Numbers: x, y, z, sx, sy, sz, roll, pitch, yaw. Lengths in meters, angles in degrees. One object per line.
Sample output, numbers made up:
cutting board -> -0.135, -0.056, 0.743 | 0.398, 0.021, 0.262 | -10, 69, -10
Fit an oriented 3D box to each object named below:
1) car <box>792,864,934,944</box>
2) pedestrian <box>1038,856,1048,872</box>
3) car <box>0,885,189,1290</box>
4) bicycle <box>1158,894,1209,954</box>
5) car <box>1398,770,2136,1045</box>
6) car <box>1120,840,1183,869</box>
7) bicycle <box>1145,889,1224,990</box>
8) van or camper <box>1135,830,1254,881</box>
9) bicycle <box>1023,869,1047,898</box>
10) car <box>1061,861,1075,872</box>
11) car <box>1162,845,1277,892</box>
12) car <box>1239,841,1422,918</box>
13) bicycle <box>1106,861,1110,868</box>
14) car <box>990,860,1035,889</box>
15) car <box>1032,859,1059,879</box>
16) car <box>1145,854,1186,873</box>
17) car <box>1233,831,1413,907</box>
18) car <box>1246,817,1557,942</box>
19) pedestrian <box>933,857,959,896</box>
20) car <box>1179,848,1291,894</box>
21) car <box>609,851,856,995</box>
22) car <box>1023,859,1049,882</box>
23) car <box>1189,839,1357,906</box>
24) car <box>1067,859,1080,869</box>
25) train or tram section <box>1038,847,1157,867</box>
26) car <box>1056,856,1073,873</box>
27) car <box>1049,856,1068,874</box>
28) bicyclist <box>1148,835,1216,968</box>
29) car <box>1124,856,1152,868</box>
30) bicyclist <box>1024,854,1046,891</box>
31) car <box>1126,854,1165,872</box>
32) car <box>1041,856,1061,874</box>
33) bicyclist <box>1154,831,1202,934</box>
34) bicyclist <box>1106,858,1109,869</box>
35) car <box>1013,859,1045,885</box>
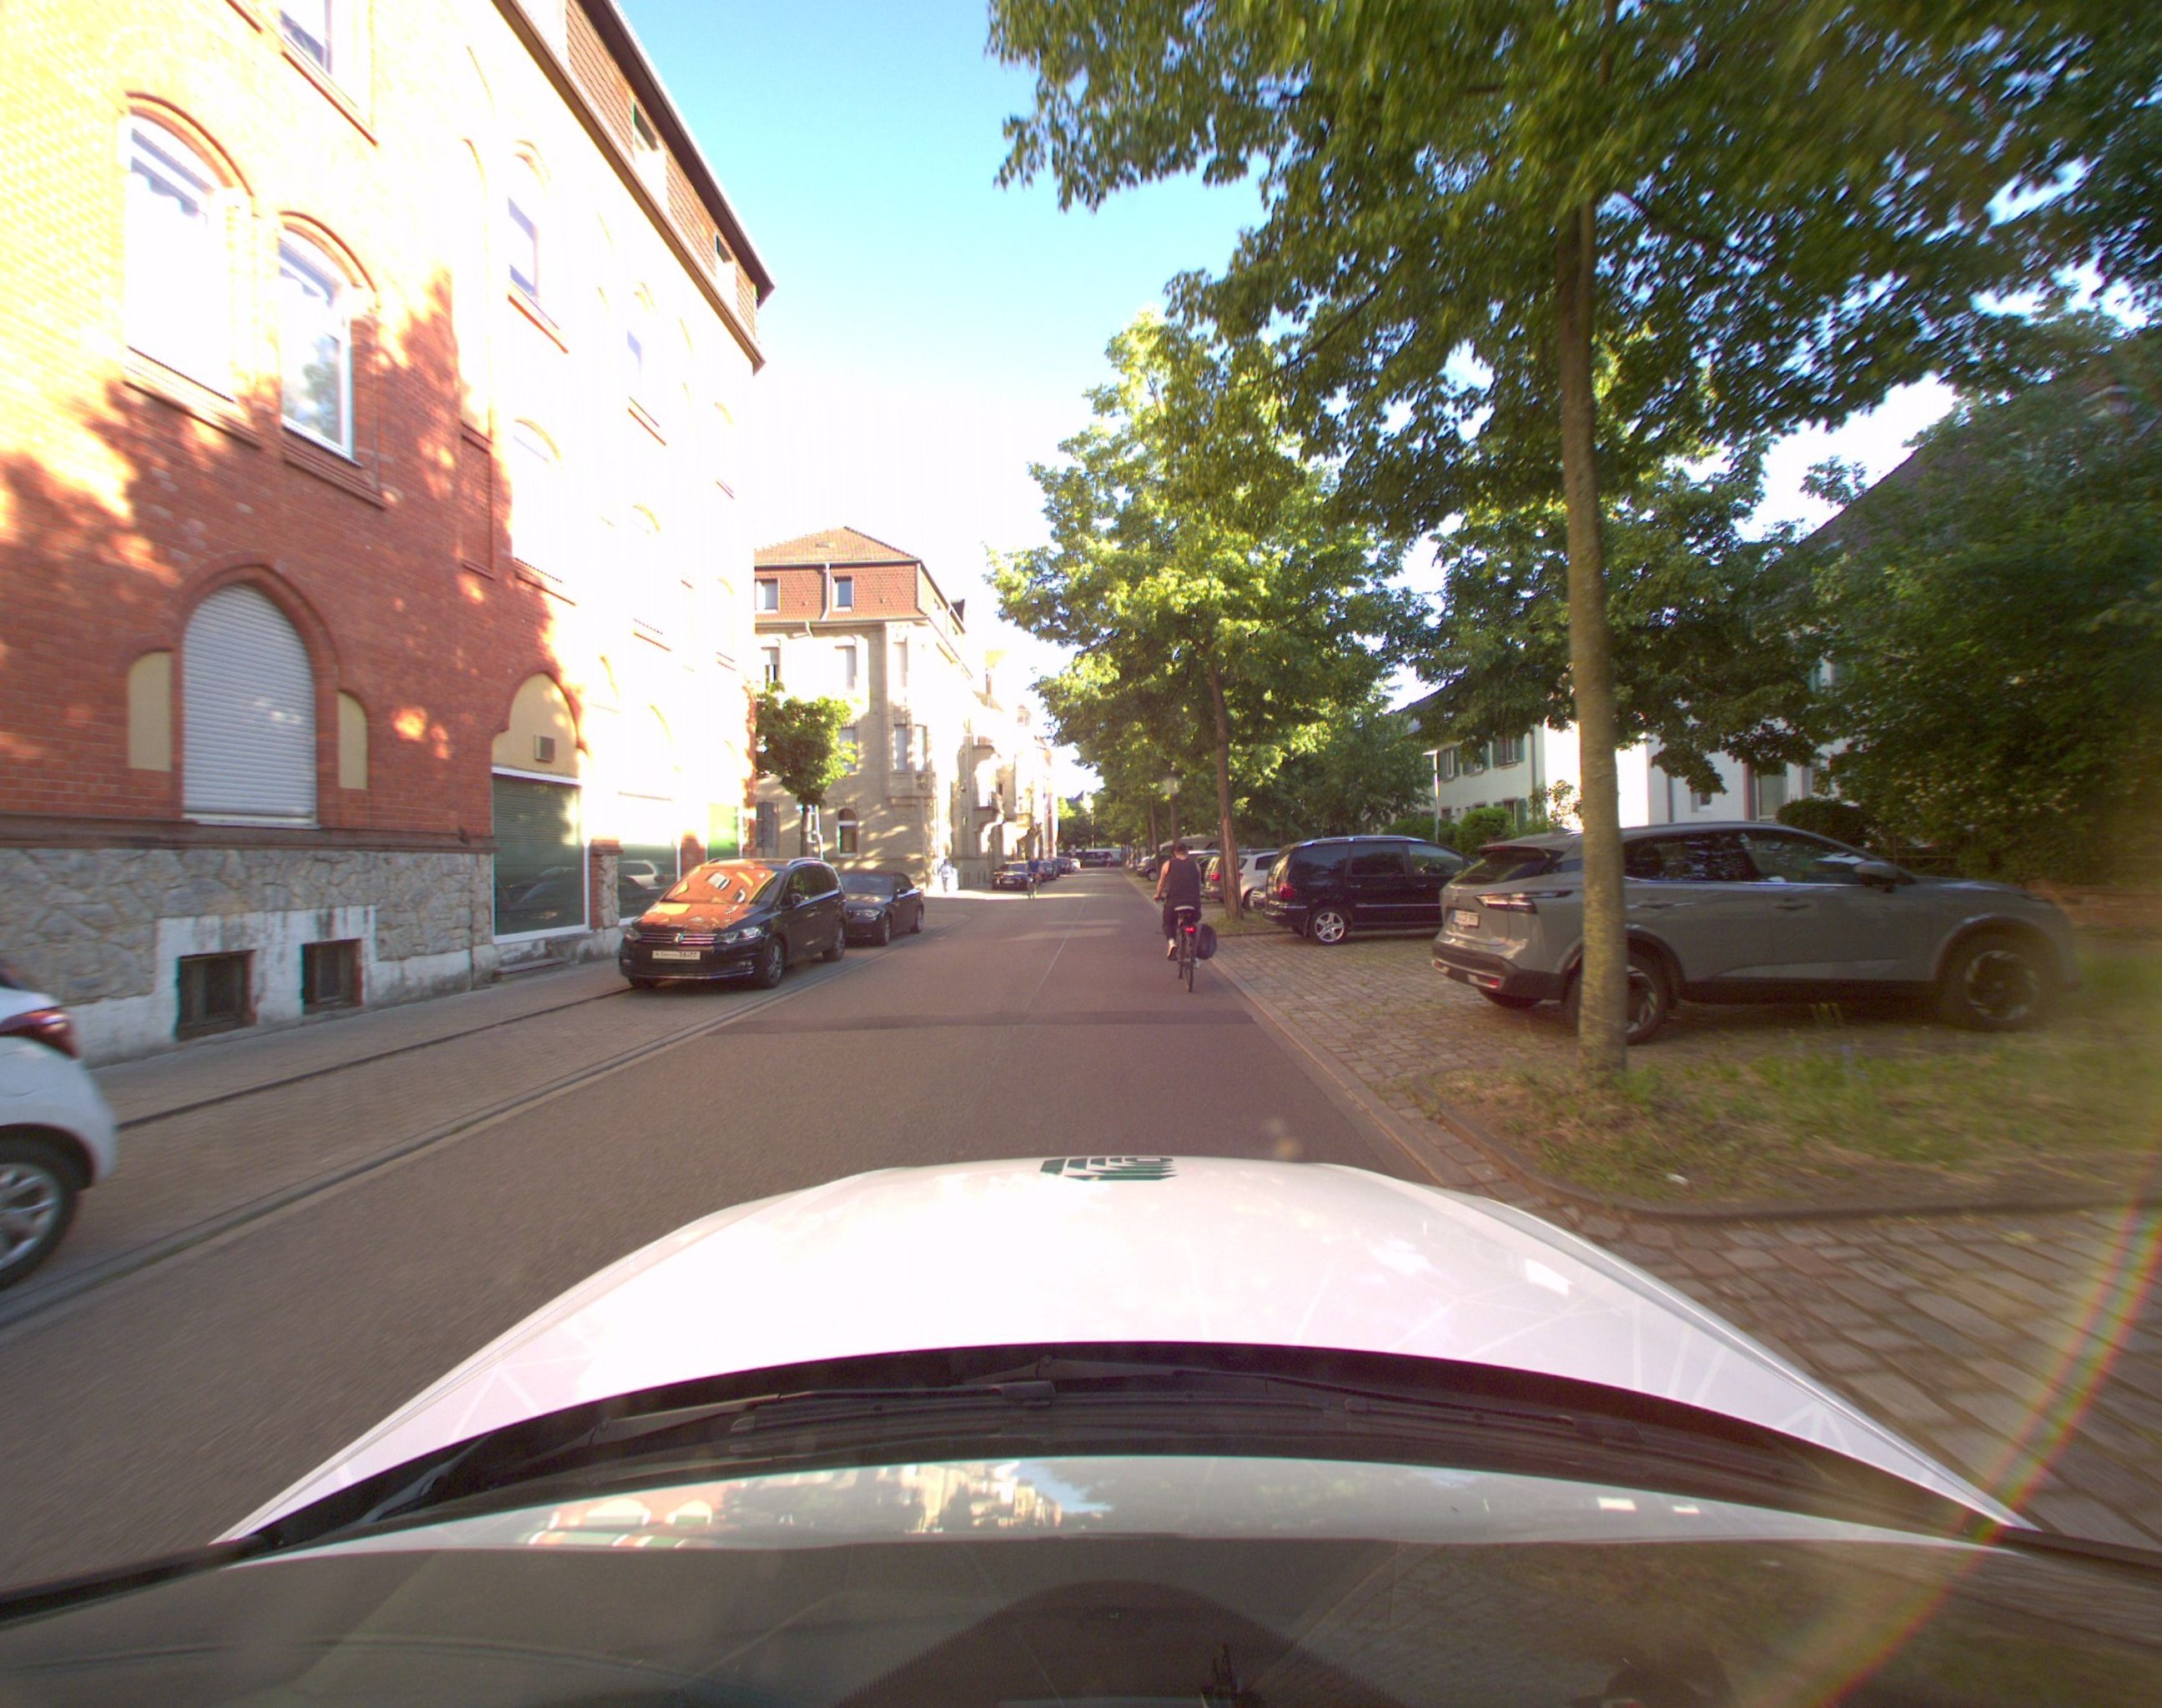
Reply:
car -> -4.361, 0.936, 17.010 | 1.629, 1.411, 4.335 | 1, -1, 2
pedestrian -> -4.037, 1.043, 86.167 | 0.934, 1.742, 0.735 | 0, -1, 2
car -> -4.840, 0.873, 1.842 | 1.559, 1.470, 3.594 | 0, 0, 3
bicycle -> 1.647, 1.108, 13.299 | 0.631, 0.799, 1.833 | -2, 0, 2
car -> 5.273, 0.388, 6.765 | 4.461, 1.633, 1.875 | -4, -1, 0
car -> 8.320, 0.070, 96.432 | 7.126, 2.978, 2.463 | -3, -1, -1
bicycle -> 1.213, 0.977, 9.915 | 0.735, 1.054, 1.956 | 1, -1, 1
van or camper -> 7.062, 0.086, 51.508 | 7.117, 2.647, 2.466 | -4, -1, 3
bicycle -> -1.812, 1.151, 32.544 | 0.755, 1.107, 1.908 | -2, -1, 1
car -> -1.593, 1.551, 102.531 | 1.577, 1.343, 4.133 | 1, 0, 2
car -> 5.848, 0.617, 34.892 | 4.600, 1.709, 1.835 | -3, 0, 3
car -> 5.733, 0.570, 19.006 | 3.708, 1.453, 1.589 | -4, -1, 1
bicycle -> 4.075, 1.654, 123.562 | 0.496, 1.005, 1.474 | 0, -2, 2
car -> -3.537, 1.056, 43.074 | 1.804, 1.427, 4.899 | 1, -1, 1
car -> -2.708, 1.144, 62.376 | 1.669, 1.430, 4.553 | 1, 0, 2
car -> 7.843, 0.909, 75.733 | 3.757, 1.600, 1.692 | -2, -2, 3
car -> 6.351, 0.380, 21.707 | 4.253, 1.633, 1.692 | -4, -1, 4
car -> 5.327, 0.424, 14.064 | 4.562, 1.677, 1.908 | -4, -1, 3
pedestrian -> -5.806, 0.961, 35.069 | 0.884, 1.577, 1.054 | -2, 0, 2
car -> 6.010, 0.654, 32.117 | 4.052, 1.476, 1.695 | -4, 0, 2
car -> -4.667, 0.832, 11.690 | 1.664, 1.681, 4.349 | 0, -1, 0
car -> -3.107, 1.114, 56.258 | 1.624, 1.453, 3.836 | 0, 0, -1
car -> 5.750, 0.548, 24.707 | 4.531, 1.633, 1.809 | -4, -1, -5
car -> -1.098, 1.450, 120.225 | 1.577, 1.375, 4.133 | 1, 0, 2
train or tram section -> 3.427, 0.672, 162.405 | 23.890, 3.709, 4.256 | 1, -1, -21
car -> -1.836, 1.156, 91.410 | 1.682, 1.825, 4.275 | 1, 0, 2
car -> -2.289, 1.103, 84.750 | 1.634, 1.783, 4.357 | 1, 0, 2
bicyclist -> 1.224, 0.567, 10.030 | 0.727, 1.548, 0.884 | 1, -1, 0
car -> 8.253, 1.155, 118.769 | 3.975, 1.804, 1.833 | 0, -1, -1
bicyclist -> -1.832, 0.739, 32.457 | 0.757, 1.454, 0.949 | -2, -1, 1
car -> 7.062, 0.986, 89.094 | 4.070, 1.650, 1.640 | -4, -1, -1
car -> -2.601, 0.940, 71.628 | 1.590, 1.489, 2.736 | 2, 0, 0
bicyclist -> 1.578, 0.458, 13.369 | 0.686, 1.627, 0.998 | 0, -1, 1
bicyclist -> 4.064, 1.421, 123.487 | 0.484, 1.744, 0.656 | 0, -1, 1
car -> -3.142, 1.093, 49.793 | 1.690, 1.453, 4.027 | -1, -1, 0
